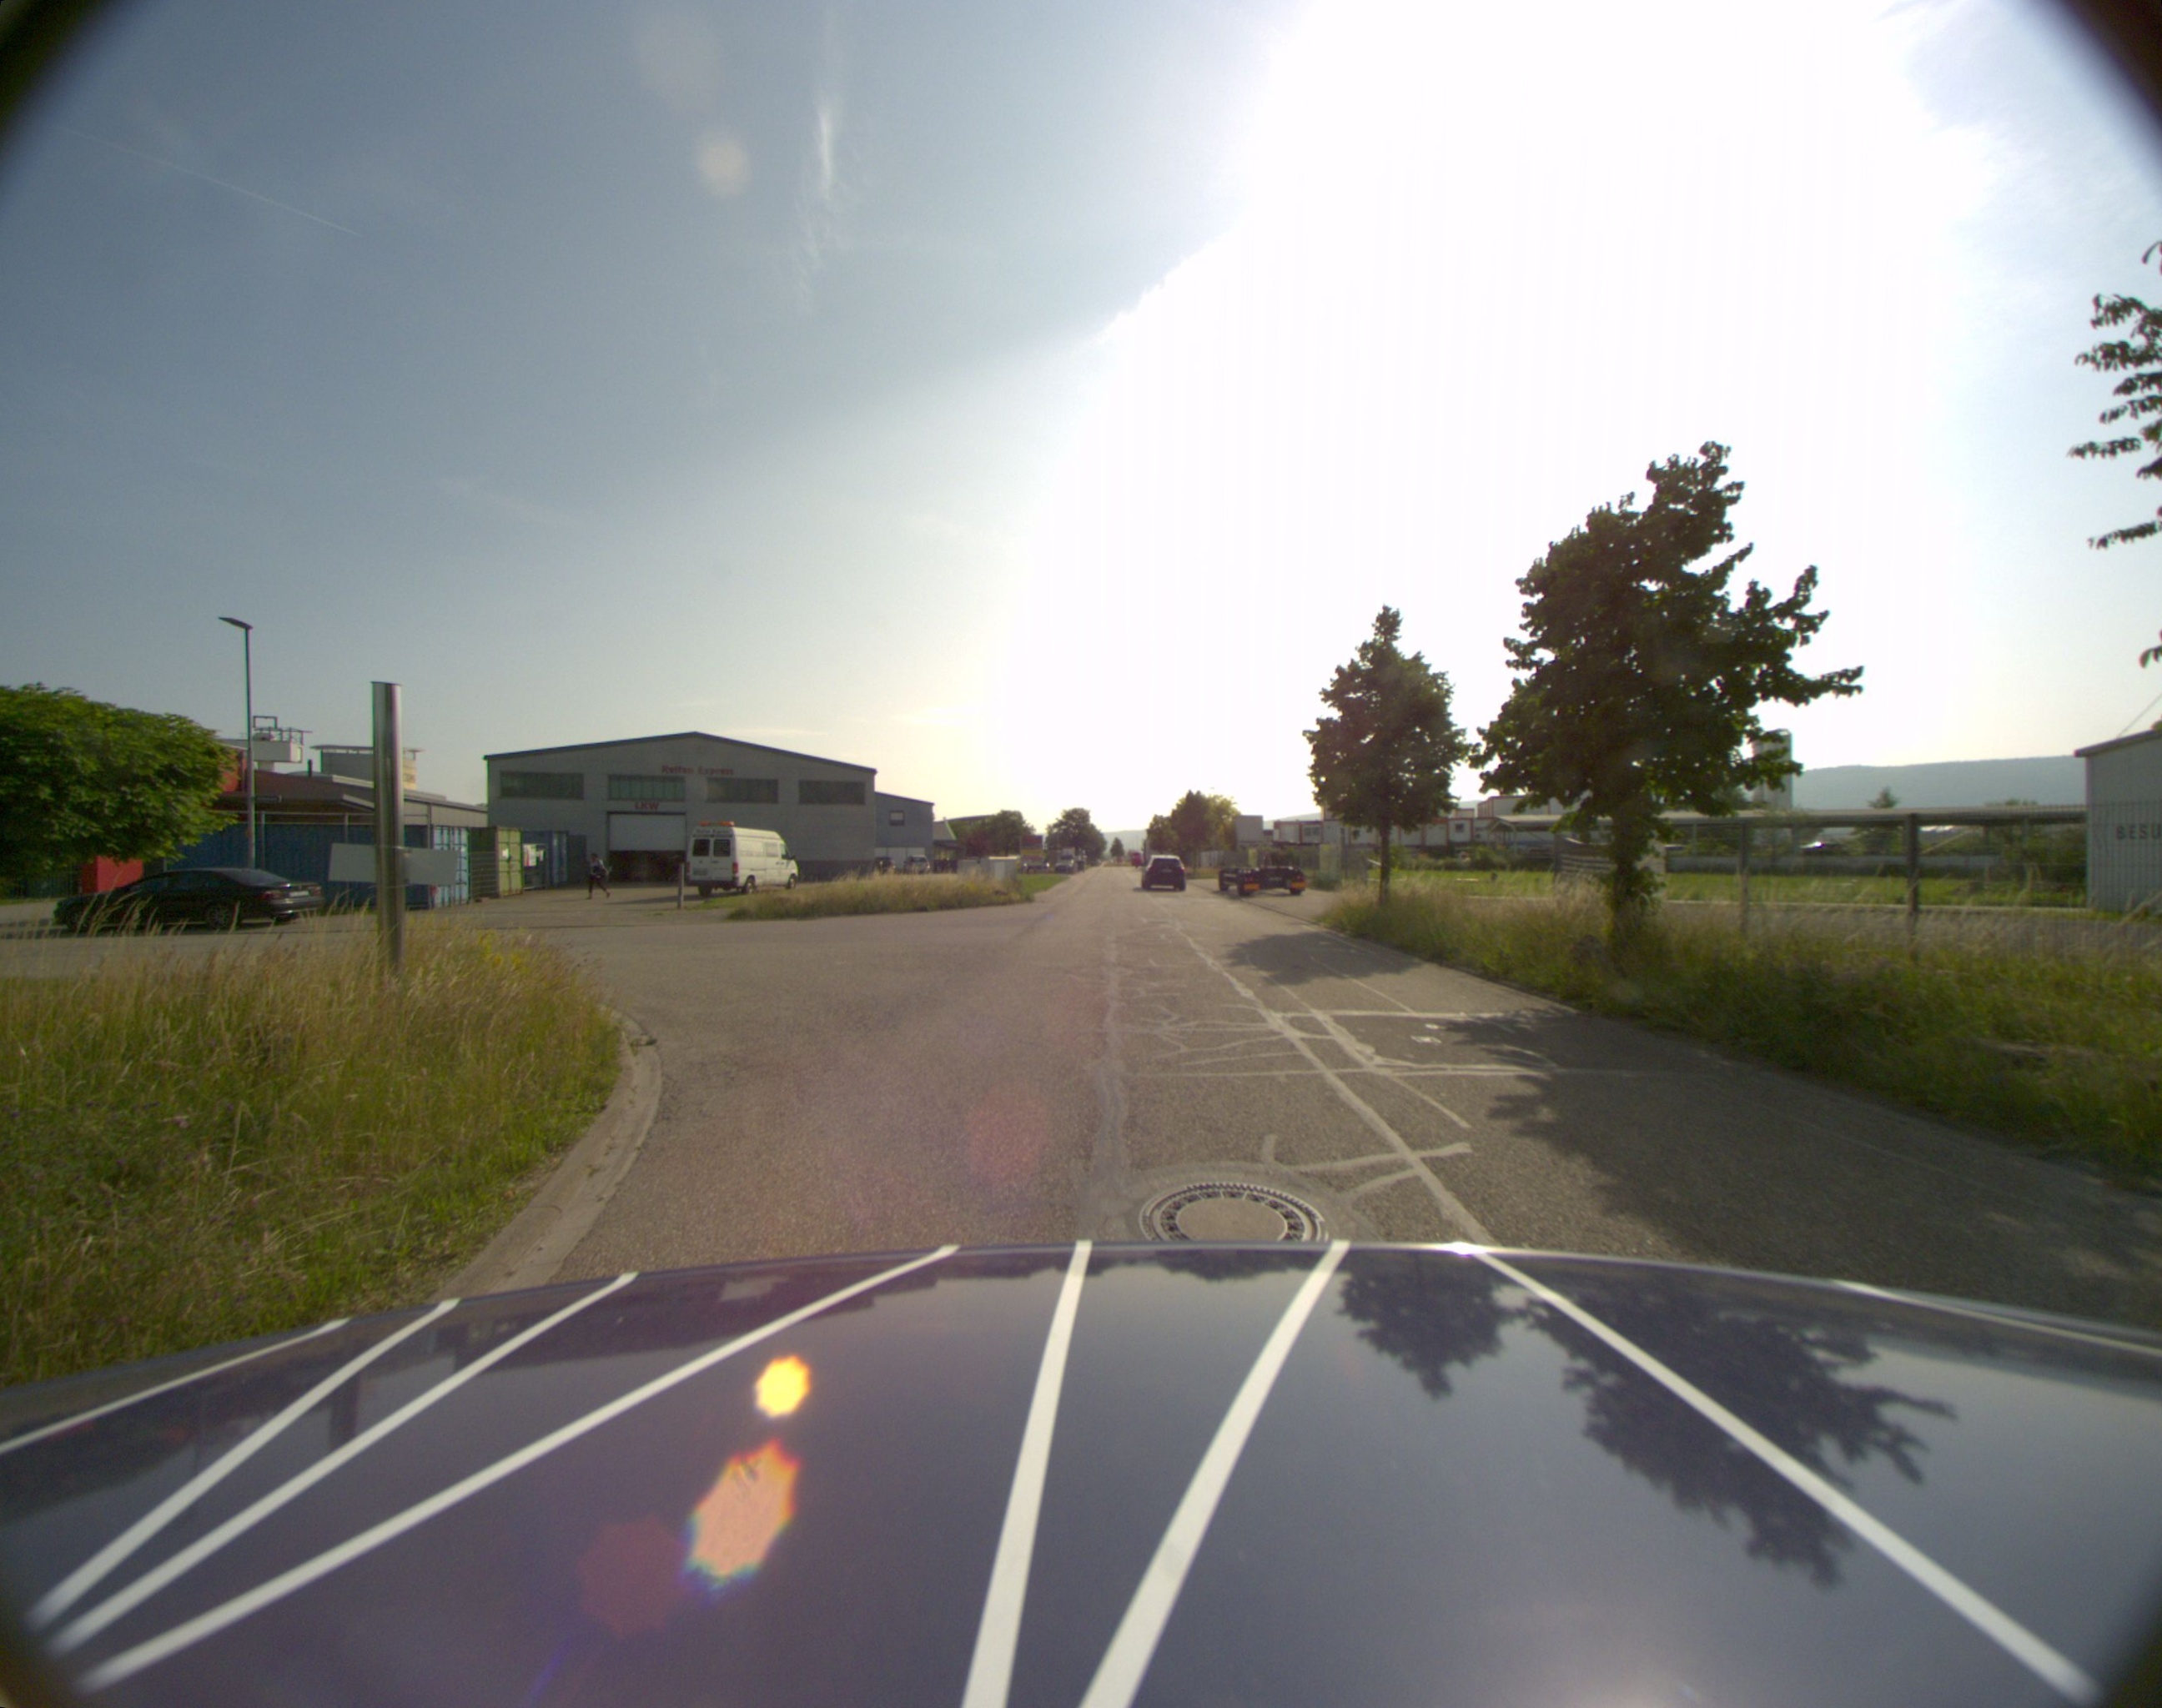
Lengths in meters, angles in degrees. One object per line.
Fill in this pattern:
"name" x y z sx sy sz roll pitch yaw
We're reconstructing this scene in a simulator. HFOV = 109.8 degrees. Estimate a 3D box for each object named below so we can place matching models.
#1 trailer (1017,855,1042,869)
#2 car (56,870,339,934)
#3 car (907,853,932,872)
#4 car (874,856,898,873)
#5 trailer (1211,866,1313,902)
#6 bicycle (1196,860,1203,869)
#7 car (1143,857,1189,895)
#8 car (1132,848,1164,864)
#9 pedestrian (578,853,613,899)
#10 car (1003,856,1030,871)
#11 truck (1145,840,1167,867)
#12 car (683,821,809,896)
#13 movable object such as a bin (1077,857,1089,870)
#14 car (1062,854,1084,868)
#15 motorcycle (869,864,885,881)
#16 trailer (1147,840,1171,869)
"trailer" -4.935 0.789 72.097 1.496 1.240 2.972 -2 0 -21
"car" -21.415 1.129 18.600 4.472 1.401 1.810 0 1 -6
"car" -13.680 0.734 64.288 1.641 1.559 3.799 0 0 -19
"car" -16.145 0.859 62.792 1.683 1.394 3.705 0 0 -19
"trailer" 7.665 1.208 33.517 2.589 1.177 9.364 -2 0 2
"bicycle" 13.223 1.190 84.777 0.563 0.967 2.453 0 0 2
"car" 4.057 1.004 36.910 1.860 1.704 4.227 1 0 2
"car" 11.189 0.328 125.959 2.275 2.524 6.759 -2 0 34
"pedestrian" -17.317 0.777 27.119 0.703 1.630 0.750 0 0 18
"car" -7.061 1.057 82.846 1.722 1.563 4.125 0 0 -22
"truck" 11.261 0.014 115.061 2.719 3.861 9.638 -2 0 3
"car" -13.005 0.181 30.028 1.978 2.689 5.883 0 0 5
"movable object such as a bin" 0.192 1.009 81.117 1.083 1.345 1.506 2 0 5
"car" -0.770 0.671 75.842 1.677 1.360 4.396 0 0 7
"motorcycle" -13.874 1.242 51.748 0.804 1.088 2.198 0 0 -21
"trailer" 10.734 0.086 105.383 2.706 3.861 9.768 -2 0 3
